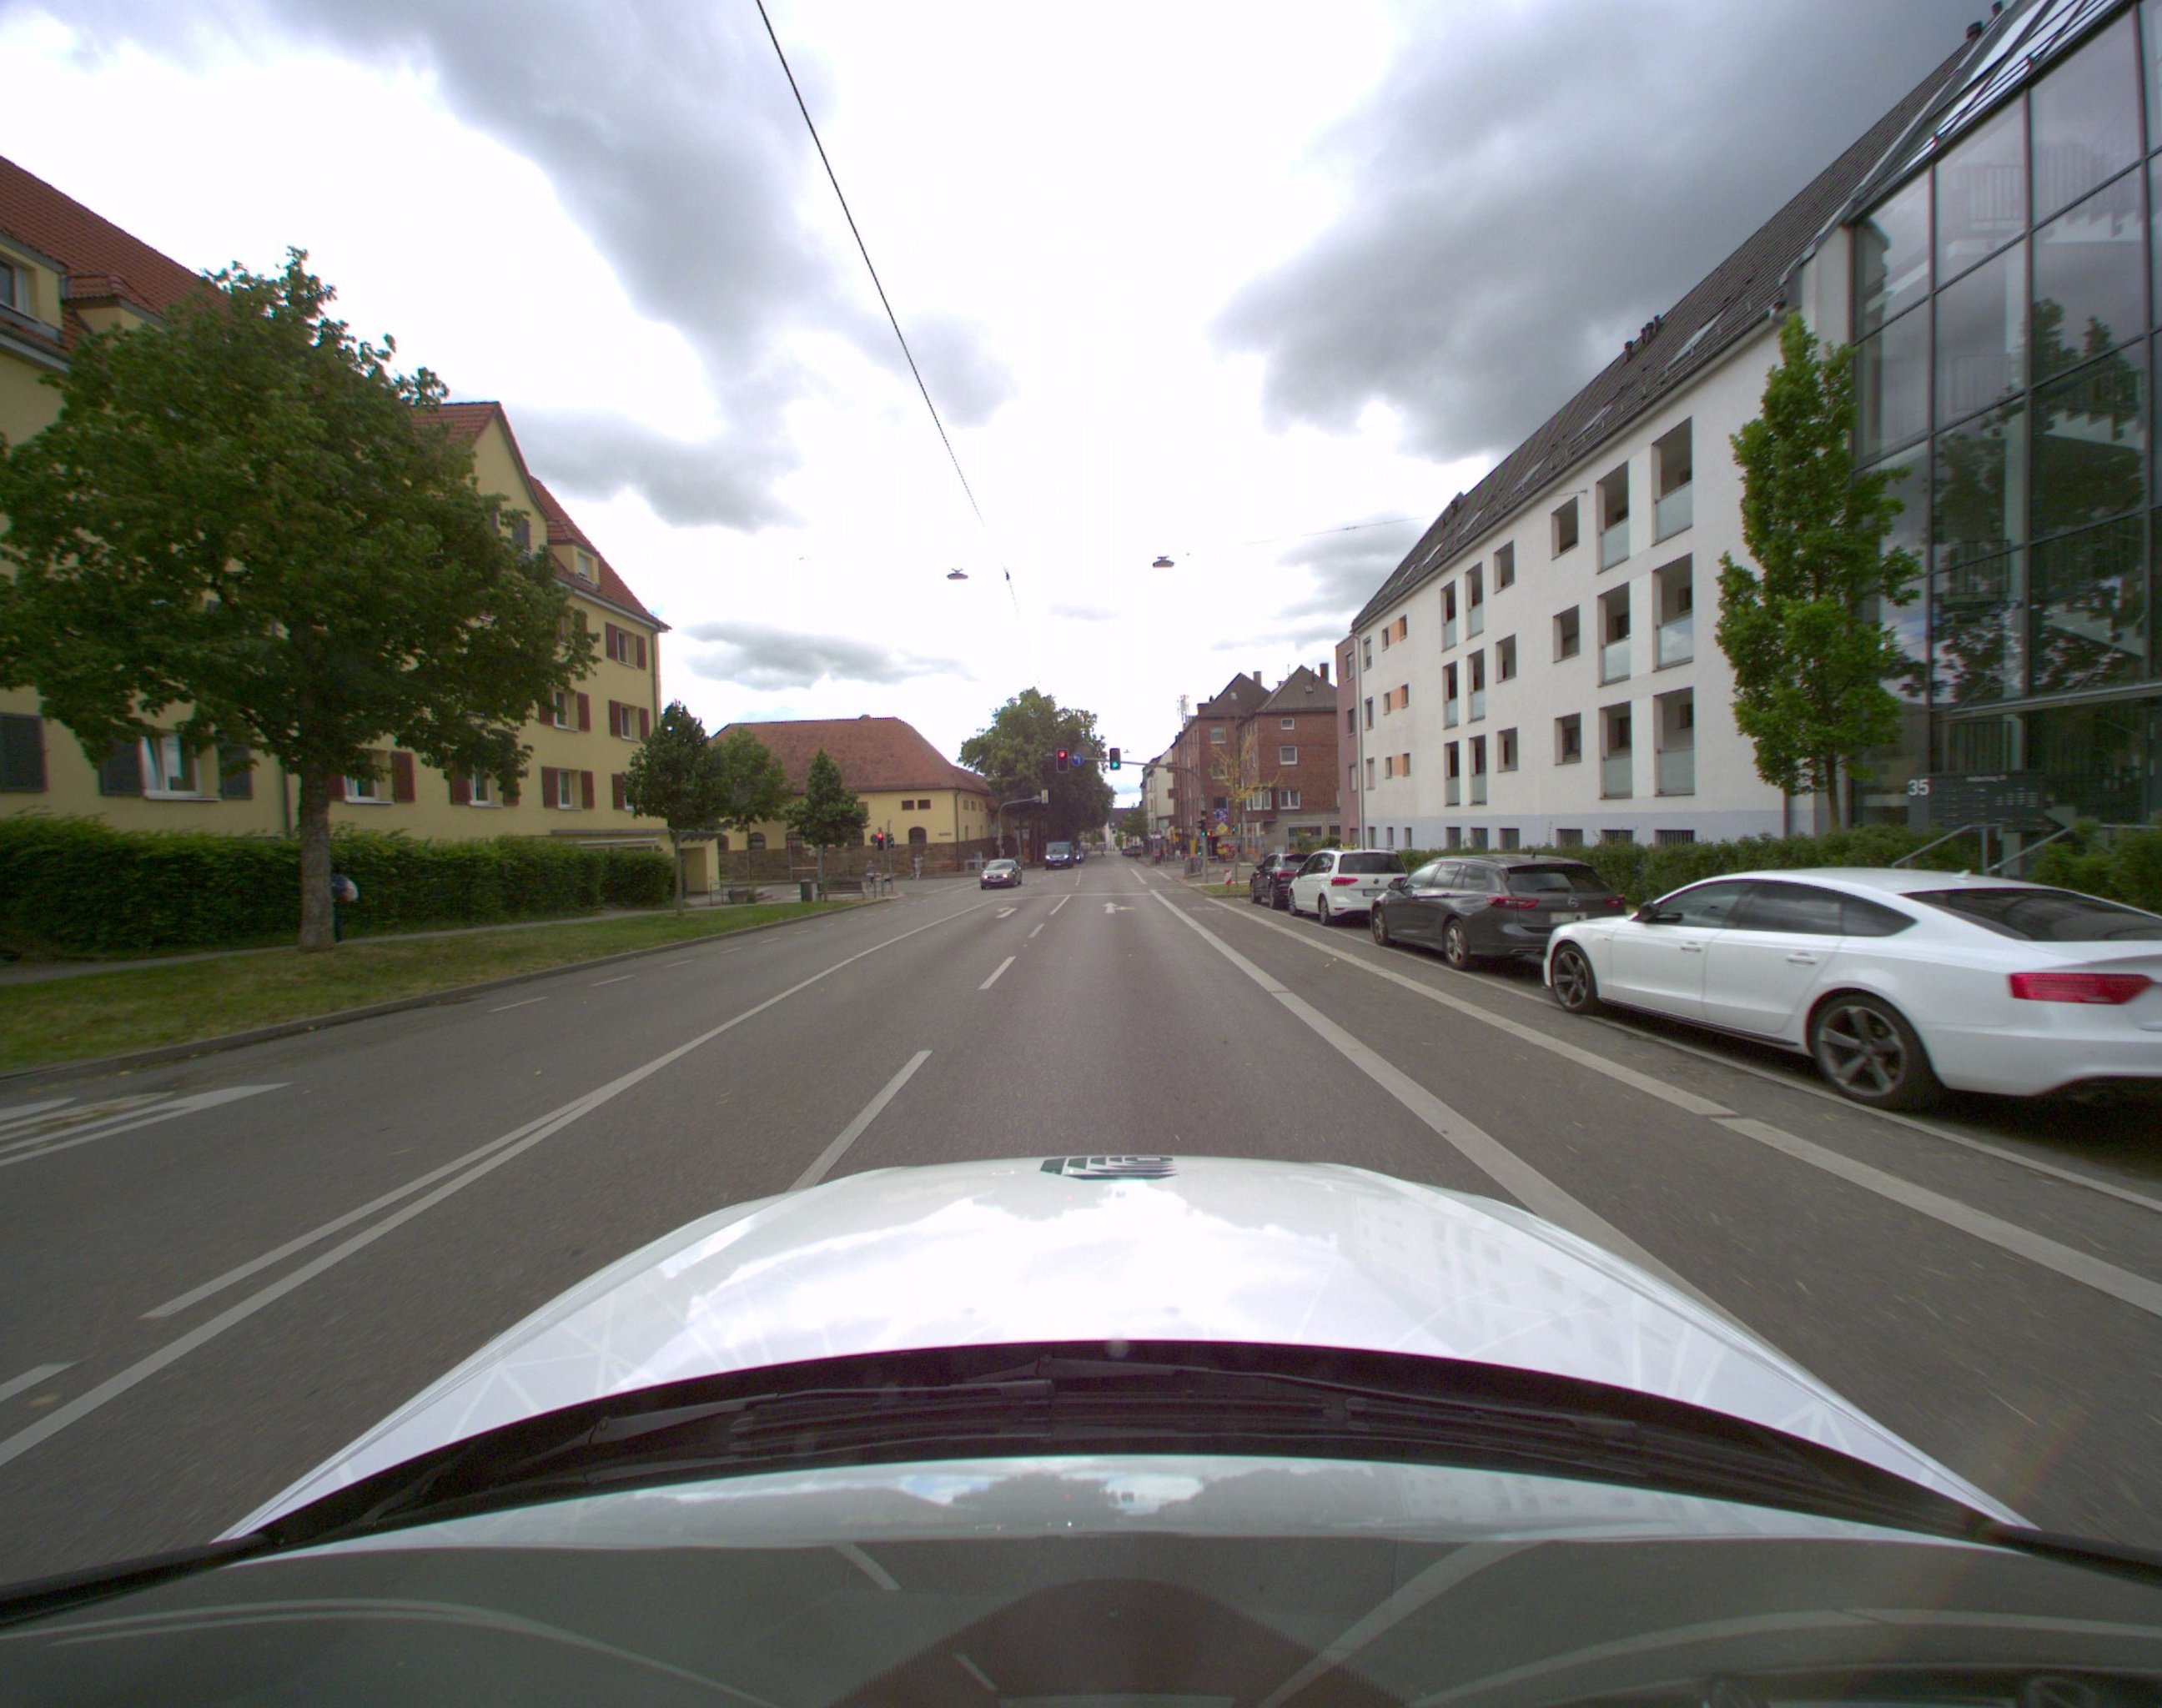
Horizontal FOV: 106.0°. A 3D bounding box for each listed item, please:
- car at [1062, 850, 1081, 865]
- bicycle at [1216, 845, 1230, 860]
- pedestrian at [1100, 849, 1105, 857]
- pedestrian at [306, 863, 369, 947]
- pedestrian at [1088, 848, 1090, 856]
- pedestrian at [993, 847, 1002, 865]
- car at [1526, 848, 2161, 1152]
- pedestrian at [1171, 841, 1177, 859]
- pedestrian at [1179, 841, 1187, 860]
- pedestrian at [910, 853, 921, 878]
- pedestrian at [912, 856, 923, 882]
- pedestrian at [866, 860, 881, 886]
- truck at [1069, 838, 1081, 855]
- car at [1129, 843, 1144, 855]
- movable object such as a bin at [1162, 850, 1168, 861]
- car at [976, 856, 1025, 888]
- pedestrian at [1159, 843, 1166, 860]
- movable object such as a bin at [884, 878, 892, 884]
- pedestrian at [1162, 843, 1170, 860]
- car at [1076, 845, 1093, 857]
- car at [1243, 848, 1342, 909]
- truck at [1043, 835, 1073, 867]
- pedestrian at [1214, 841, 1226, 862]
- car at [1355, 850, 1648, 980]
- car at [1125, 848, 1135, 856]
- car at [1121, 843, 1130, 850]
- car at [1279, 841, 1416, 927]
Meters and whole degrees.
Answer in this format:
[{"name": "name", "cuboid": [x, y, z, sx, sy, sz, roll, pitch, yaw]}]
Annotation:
[{"name": "car", "cuboid": [-0.988, 0.361, 85.653, 1.695, 1.414, 4.196, -3, 0, 3]}, {"name": "bicycle", "cuboid": [11.533, -0.109, 66.230, 0.757, 1.193, 2.392, -2, 0, 2]}, {"name": "pedestrian", "cuboid": [3.944, -0.239, 151.305, 0.674, 1.536, 0.607, -2, 0, -19]}, {"name": "pedestrian", "cuboid": [-14.973, 1.015, 16.416, 0.638, 1.619, 0.618, -2, 0, 0]}, {"name": "pedestrian", "cuboid": [2.245, -0.564, 231.553, 0.631, 2.013, 0.785, -2, 0, 3]}, {"name": "pedestrian", "cuboid": [-8.156, 0.173, 79.772, 0.671, 1.765, 0.726, -2, 0, 4]}, {"name": "car", "cuboid": [5.460, 0.670, 6.099, 1.725, 1.413, 4.497, 0, 0, -1]}, {"name": "pedestrian", "cuboid": [9.586, -0.419, 83.825, 0.477, 1.765, 0.458, -2, 0, 1]}, {"name": "pedestrian", "cuboid": [9.637, -0.338, 77.037, 0.644, 1.750, 0.779, -2, 0, 7]}, {"name": "pedestrian", "cuboid": [-11.734, 0.807, 57.755, 0.562, 1.777, 0.842, -2, 0, 1]}, {"name": "pedestrian", "cuboid": [-11.442, 1.031, 56.963, 0.562, 1.777, 0.717, -2, 0, 1]}, {"name": "pedestrian", "cuboid": [-13.002, 1.189, 51.061, 0.561, 1.566, 0.844, -2, 0, 7]}, {"name": "truck", "cuboid": [-1.194, -1.607, 168.688, 2.223, 3.346, 7.451, -2, 0, 1]}, {"name": "car", "cuboid": [9.073, -0.774, 132.422, 1.988, 1.935, 4.917, -2, 0, -1]}, {"name": "movable object such as a bin", "cuboid": [8.245, 0.192, 79.656, 0.449, 1.056, 0.412, -2, 0, 21]}, {"name": "car", "cuboid": [-4.212, 0.926, 43.312, 1.748, 1.472, 4.312, -3, 0, 4]}, {"name": "pedestrian", "cuboid": [8.748, -0.259, 87.372, 0.666, 1.727, 0.765, -2, 0, 7]}, {"name": "movable object such as a bin", "cuboid": [-12.318, 1.733, 52.047, 0.305, 0.347, 0.582, -2, 0, 7]}, {"name": "pedestrian", "cuboid": [8.308, -0.280, 79.830, 0.560, 1.636, 0.684, -2, 0, 22]}, {"name": "car", "cuboid": [0.425, -0.320, 97.488, 1.678, 1.275, 4.099, -4, 0, 4]}, {"name": "car", "cuboid": [6.039, 0.661, 23.799, 1.729, 1.588, 4.572, 0, 0, 0]}, {"name": "truck", "cuboid": [-1.909, -0.230, 68.421, 2.289, 2.427, 6.408, -3, 0, -1]}, {"name": "pedestrian", "cuboid": [11.375, -0.216, 66.598, 0.785, 1.656, 0.773, -4, 0, 2]}, {"name": "car", "cuboid": [5.667, 0.691, 11.829, 1.740, 1.467, 4.949, 0, 0, 0]}, {"name": "car", "cuboid": [9.389, -0.381, 155.839, 1.664, 1.547, 3.755, -2, 0, -1]}, {"name": "car", "cuboid": [10.148, -1.694, 185.580, 1.664, 1.547, 3.755, -2, 0, -1]}, {"name": "car", "cuboid": [5.894, 0.582, 18.598, 1.653, 1.716, 4.552, 0, 0, 0]}]
